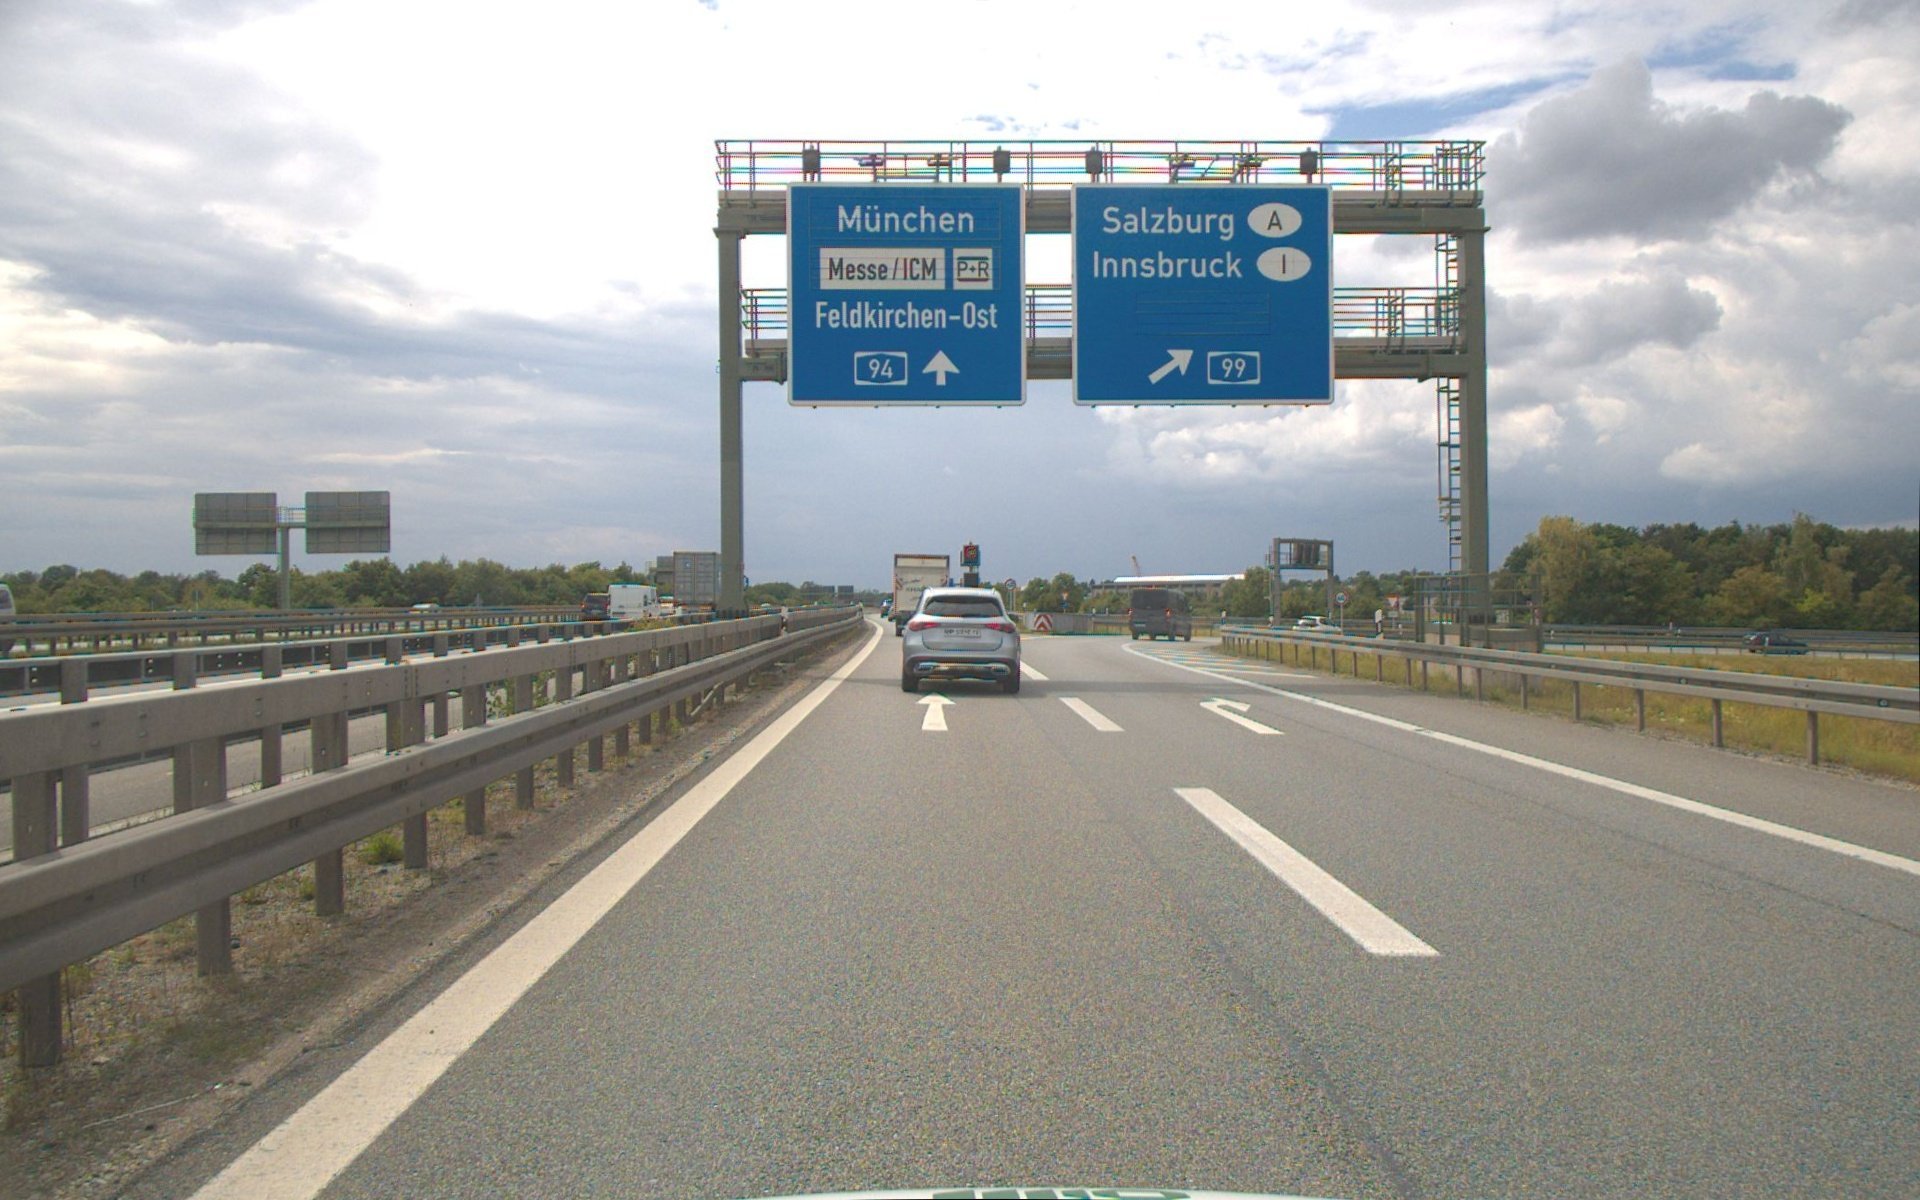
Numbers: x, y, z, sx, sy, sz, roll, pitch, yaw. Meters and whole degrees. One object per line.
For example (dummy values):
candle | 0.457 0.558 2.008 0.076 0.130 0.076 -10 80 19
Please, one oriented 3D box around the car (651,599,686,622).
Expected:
car | -19.574 0.687 111.013 1.761 1.444 3.998 1 1 -2

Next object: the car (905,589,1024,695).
car | 0.042 0.623 27.019 1.782 1.541 3.999 1 1 -1

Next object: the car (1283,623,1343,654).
car | 21.348 2.300 99.897 1.962 1.739 3.981 2 1 38

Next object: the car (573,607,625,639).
car | -19.064 1.193 87.509 1.843 1.573 4.614 1 1 -1

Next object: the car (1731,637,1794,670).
car | 58.323 3.871 120.260 3.926 2.048 1.774 4 0 -18

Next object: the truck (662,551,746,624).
truck | -15.455 -0.815 101.307 3.119 4.089 16.069 1 1 -2

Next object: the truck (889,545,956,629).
truck | -1.522 -0.464 68.137 2.517 3.181 8.632 1 -1 -1

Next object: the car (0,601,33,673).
car | -25.957 0.944 42.173 1.872 1.825 4.822 4 0 -1

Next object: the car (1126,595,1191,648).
car | 9.188 0.939 76.145 1.867 2.301 4.649 1 1 21

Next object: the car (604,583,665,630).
car | -14.982 0.257 76.275 1.953 2.049 4.374 1 1 -1
